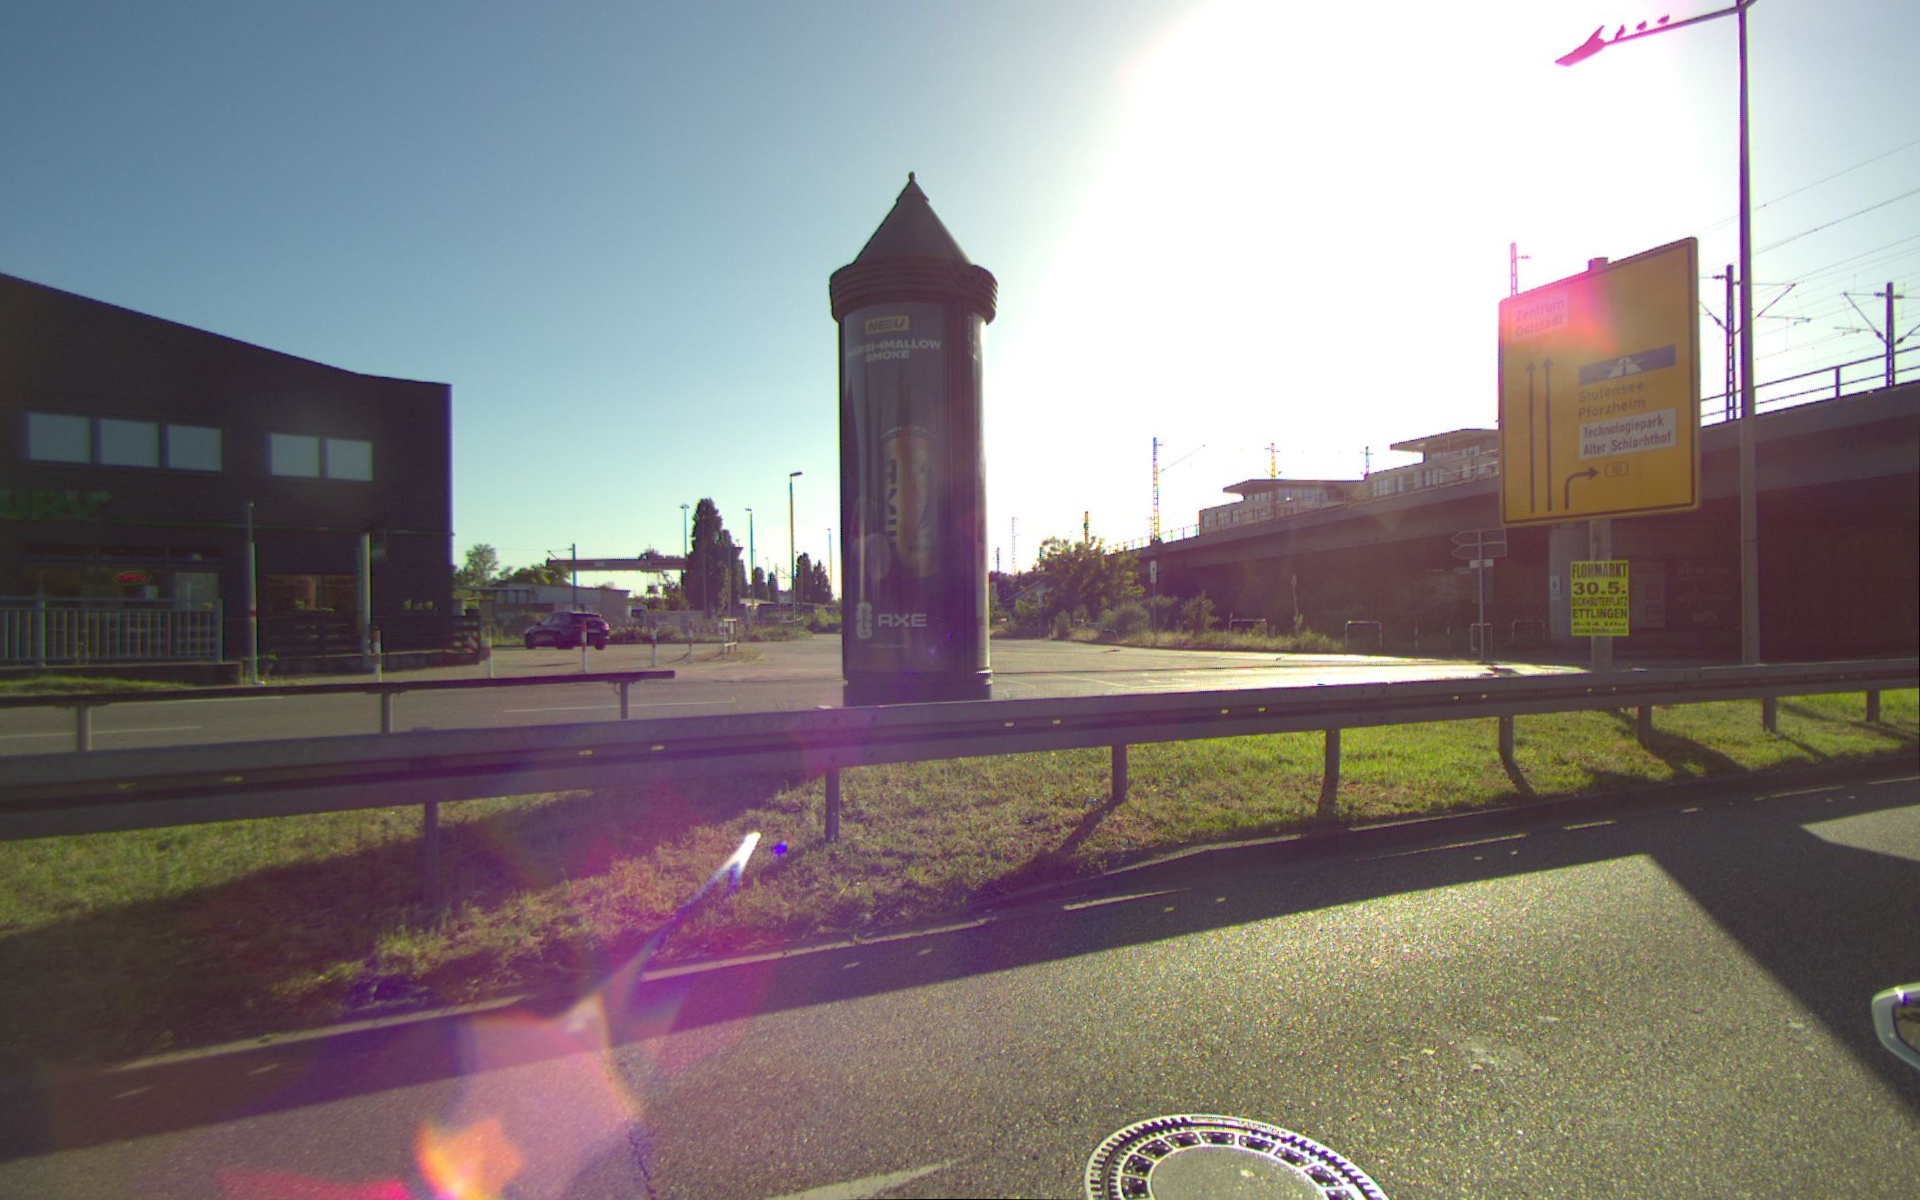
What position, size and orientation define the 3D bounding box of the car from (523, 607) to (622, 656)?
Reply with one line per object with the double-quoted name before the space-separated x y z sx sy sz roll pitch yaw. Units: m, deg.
"car" -14.941 1.260 38.632 4.050 1.737 1.943 -3 -4 42
